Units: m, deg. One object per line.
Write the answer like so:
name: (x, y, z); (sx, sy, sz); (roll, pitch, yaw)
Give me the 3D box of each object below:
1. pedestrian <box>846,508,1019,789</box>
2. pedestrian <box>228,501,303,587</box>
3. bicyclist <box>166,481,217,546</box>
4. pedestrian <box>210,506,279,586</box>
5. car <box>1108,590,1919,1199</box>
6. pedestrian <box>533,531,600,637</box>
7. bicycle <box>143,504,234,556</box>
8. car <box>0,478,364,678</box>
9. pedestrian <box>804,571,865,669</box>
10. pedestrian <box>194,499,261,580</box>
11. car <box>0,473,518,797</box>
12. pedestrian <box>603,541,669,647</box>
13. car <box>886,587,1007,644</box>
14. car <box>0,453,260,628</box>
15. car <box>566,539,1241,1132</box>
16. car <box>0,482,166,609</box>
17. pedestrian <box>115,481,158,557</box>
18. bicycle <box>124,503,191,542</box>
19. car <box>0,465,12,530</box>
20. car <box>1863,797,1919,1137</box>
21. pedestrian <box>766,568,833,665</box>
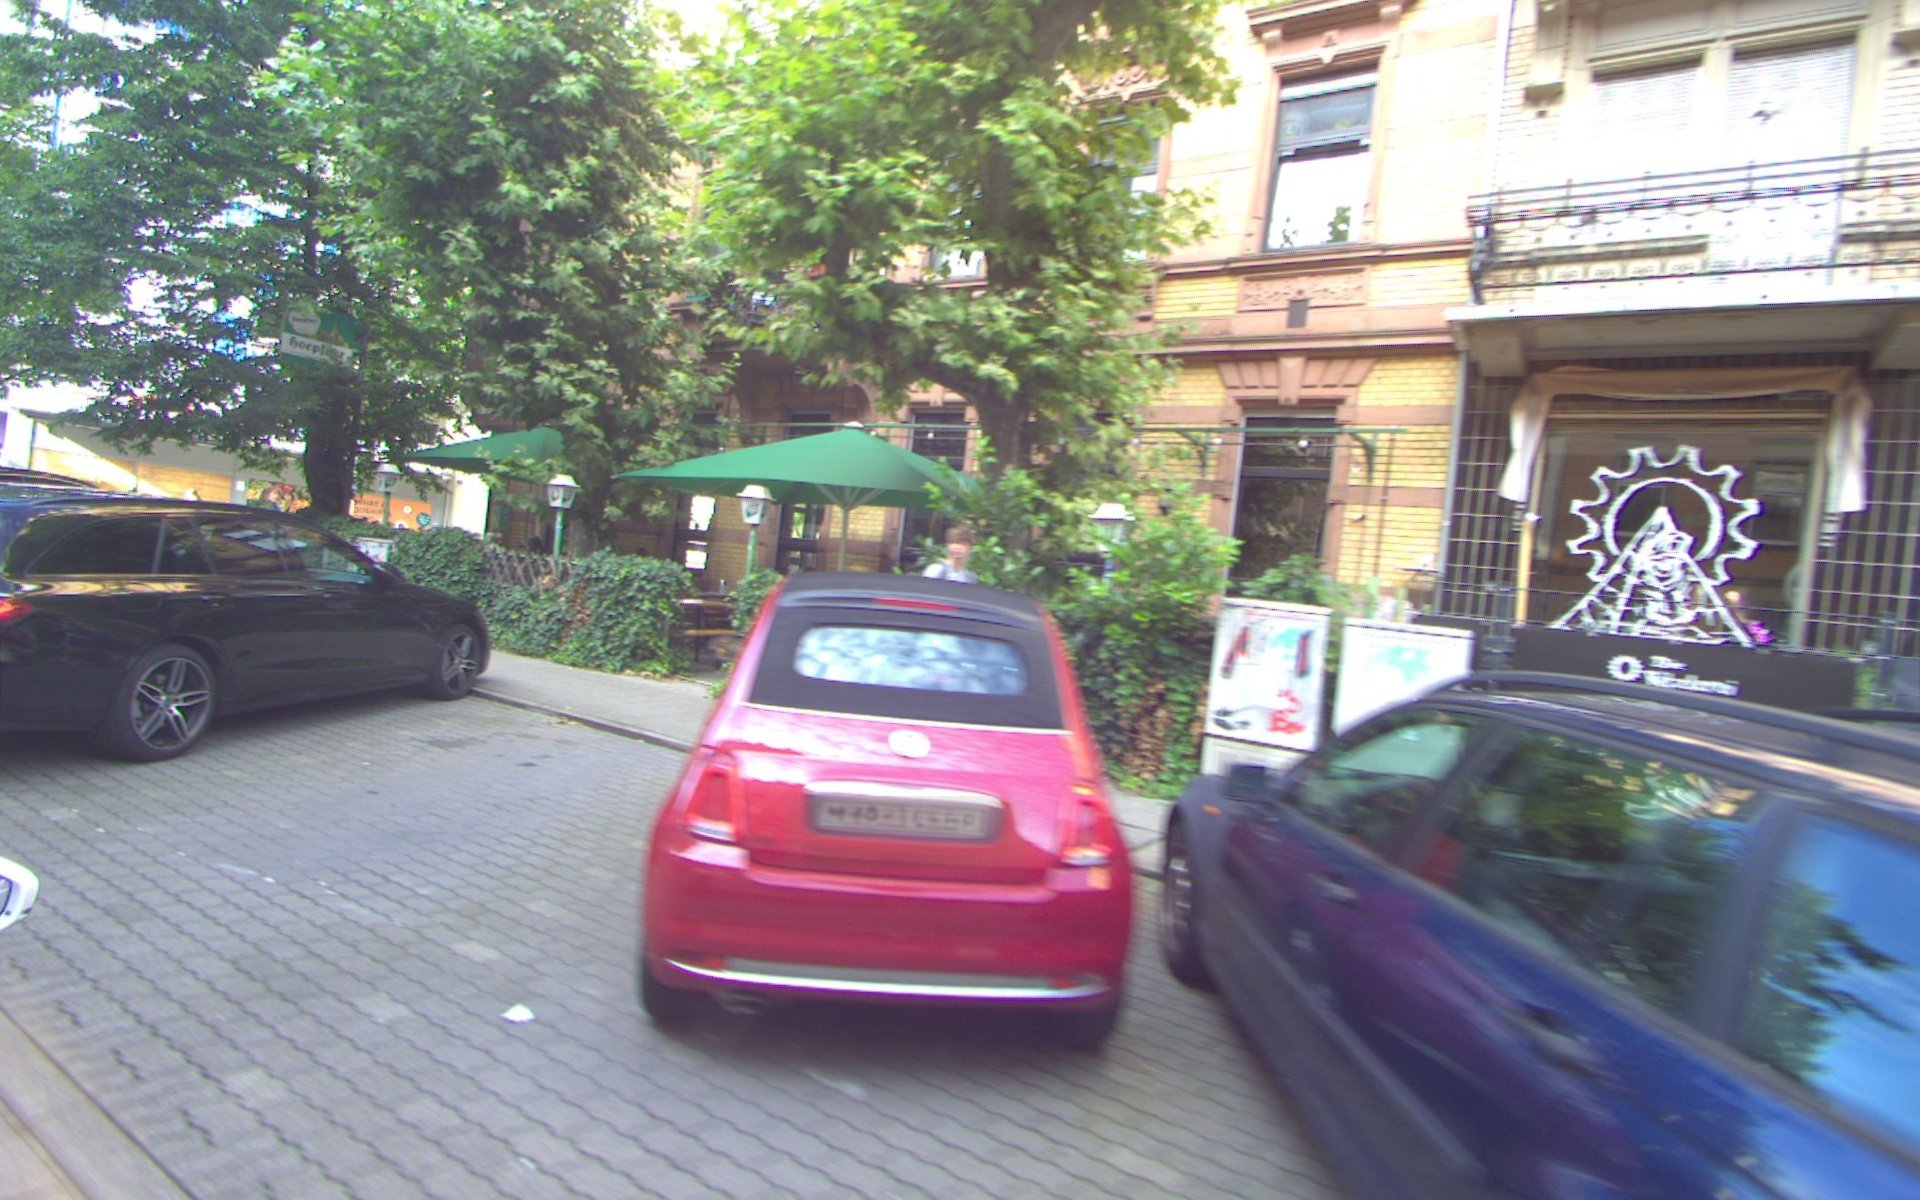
pedestrian: (-0.196, 0.346, 7.427); (0.712, 1.902, 0.839); (8, 2, 37)
pedestrian: (-12.611, -1.013, 18.270); (0.690, 1.424, 0.798); (7, 1, 29)
bicyclist: (-21.859, -2.461, 28.603); (1.008, 1.689, 0.933); (6, 1, -40)
pedestrian: (-13.210, -0.984, 18.589); (0.586, 1.359, 0.758); (7, 1, 28)
car: (1.778, 0.887, 2.645); (1.845, 1.484, 4.462); (7, 2, -2)
pedestrian: (-6.240, -0.242, 15.968); (0.560, 1.590, 0.629); (7, 2, 29)
bicycle: (-21.913, -1.981, 28.602); (1.959, 1.215, 0.704); (7, 1, -38)
car: (-7.818, -0.245, 8.908); (1.906, 1.475, 4.416); (7, 0, 8)
pedestrian: (-1.669, 0.256, 13.399); (0.553, 1.236, 0.466); (7, 3, 24)
pedestrian: (-13.714, -1.121, 18.846); (0.539, 1.410, 0.758); (7, 1, 28)
car: (-5.298, 0.029, 6.873); (2.018, 1.476, 4.765); (7, 2, 5)
pedestrian: (-5.141, -0.089, 15.966); (0.560, 1.590, 0.629); (7, 2, 29)
car: (-0.542, 0.485, 34.369); (1.981, 1.433, 4.385); (7, 0, -34)
car: (-9.920, -0.680, 10.483); (1.787, 1.667, 4.352); (7, 2, 7)
car: (-0.299, 0.626, 4.636); (1.710, 1.504, 3.713); (7, 1, -5)
car: (-12.044, -0.739, 11.985); (1.736, 1.475, 3.945); (7, 0, 5)
pedestrian: (-20.278, -2.001, 24.772); (0.627, 1.761, 0.765); (5, 2, -45)
bicycle: (-27.059, -2.596, 33.942); (1.660, 1.063, 0.456); (7, 1, -18)
car: (-28.067, -2.999, 25.942); (4.769, 1.747, 2.034); (7, 2, -15)
car: (4.186, 1.147, 1.132); (1.856, 1.497, 4.458); (7, 3, -7)
pedestrian: (-2.187, 0.220, 13.718); (0.638, 1.236, 0.487); (7, 3, 24)
